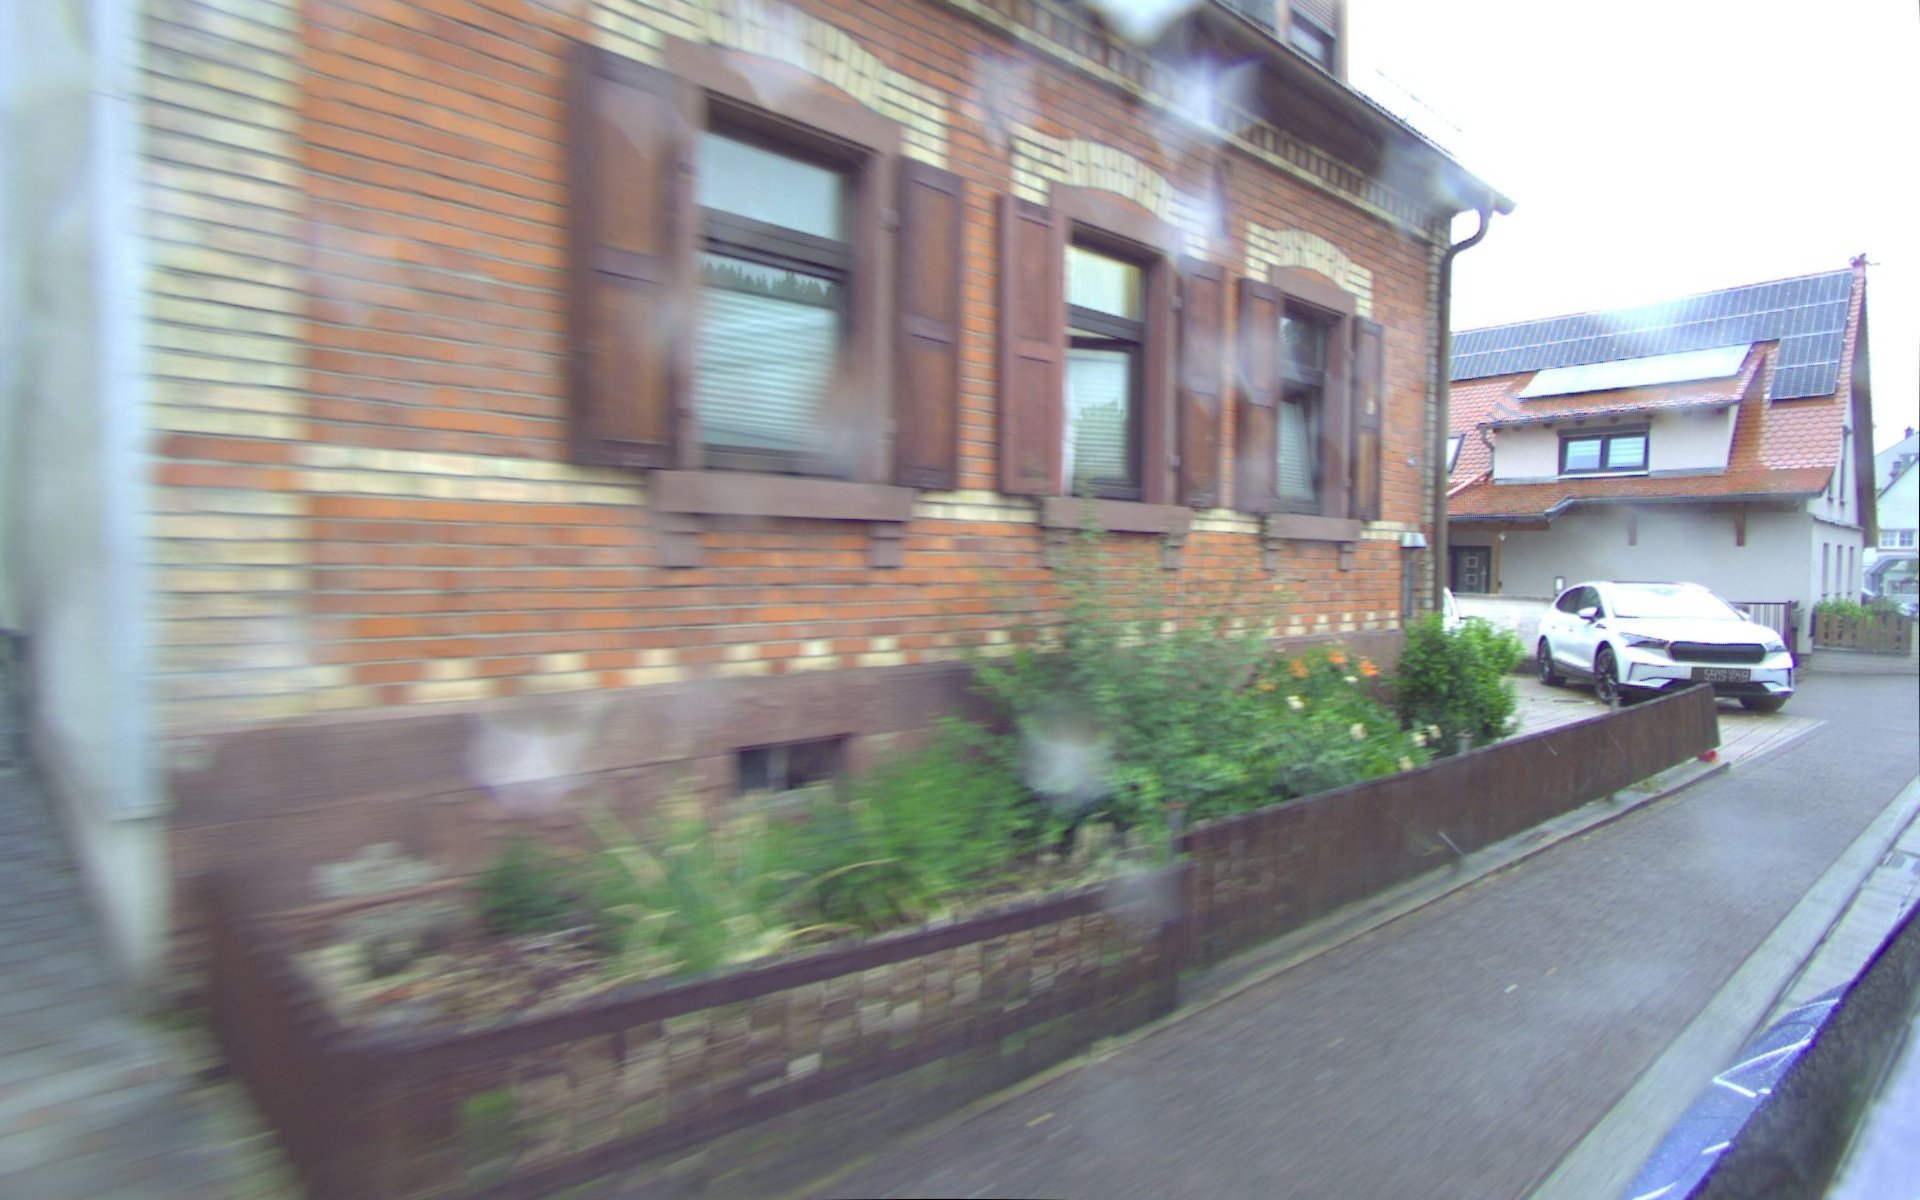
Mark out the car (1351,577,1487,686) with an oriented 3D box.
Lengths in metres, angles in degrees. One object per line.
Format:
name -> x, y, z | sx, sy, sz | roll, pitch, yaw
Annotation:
car -> 6.905, 0.392, 15.518 | 1.470, 1.459, 3.698 | 0, 1, 18

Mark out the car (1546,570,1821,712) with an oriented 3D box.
car -> 9.357, 0.436, 13.496 | 1.866, 1.595, 3.869 | 0, 1, 18
